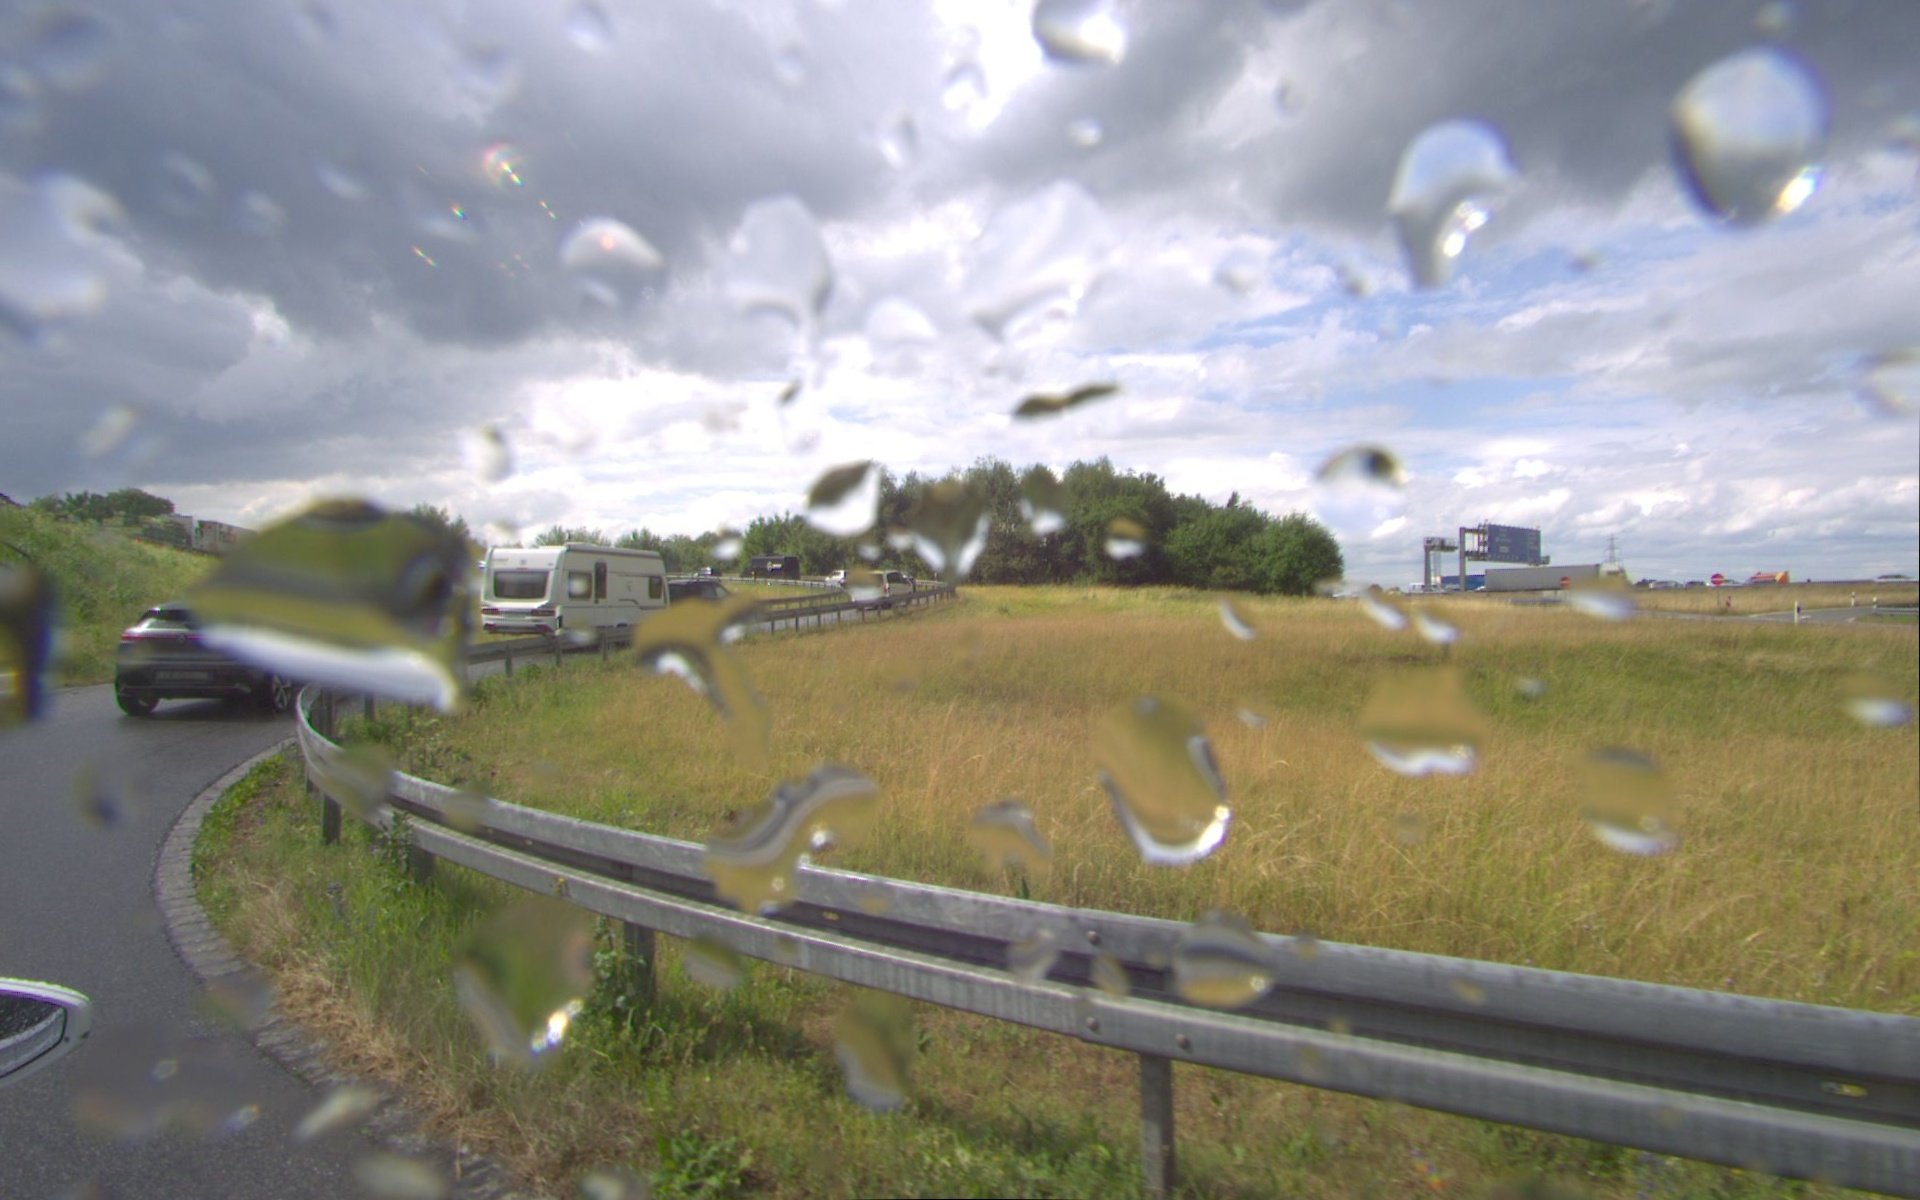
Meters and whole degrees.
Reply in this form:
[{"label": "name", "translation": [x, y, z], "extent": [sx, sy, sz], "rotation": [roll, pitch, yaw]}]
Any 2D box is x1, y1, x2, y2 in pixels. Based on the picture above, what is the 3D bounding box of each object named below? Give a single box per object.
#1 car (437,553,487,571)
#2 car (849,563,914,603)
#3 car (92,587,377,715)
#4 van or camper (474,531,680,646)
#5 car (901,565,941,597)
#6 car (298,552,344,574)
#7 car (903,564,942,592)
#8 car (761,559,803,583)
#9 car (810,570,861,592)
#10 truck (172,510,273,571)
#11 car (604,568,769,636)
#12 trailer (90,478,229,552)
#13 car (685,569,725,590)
[{"label": "car", "translation": [-55.489, -4.242, 111.615], "extent": [4.966, 1.886, 1.996], "rotation": [-1, 1, 18]}, {"label": "car", "translation": [-3.885, -0.839, 50.345], "extent": [1.962, 1.886, 5.053], "rotation": [-1, 1, 11]}, {"label": "car", "translation": [-10.027, 0.608, 14.249], "extent": [1.691, 1.545, 3.996], "rotation": [1, 1, -10]}, {"label": "van or camper", "translation": [-10.198, -0.321, 27.370], "extent": [2.392, 2.766, 5.995], "rotation": [1, 1, 12]}, {"label": "car", "translation": [-2.414, -1.162, 62.603], "extent": [1.961, 1.886, 5.055], "rotation": [-1, 1, 4]}, {"label": "car", "translation": [-67.668, -3.922, 106.080], "extent": [3.943, 2.039, 1.818], "rotation": [1, -1, -30]}, {"label": "car", "translation": [-2.713, -1.563, 71.622], "extent": [1.963, 1.886, 5.051], "rotation": [-1, 0, -12]}, {"label": "car", "translation": [-16.523, -2.667, 92.943], "extent": [1.981, 2.039, 3.961], "rotation": [1, -2, -44]}, {"label": "car", "translation": [-10.599, -1.592, 84.995], "extent": [1.648, 1.808, 5.010], "rotation": [-1, 1, -42]}, {"label": "truck", "translation": [-75.559, -5.811, 103.285], "extent": [4.404, 4.560, 19.312], "rotation": [0, -2, -24]}, {"label": "car", "translation": [-8.768, 0.020, 32.771], "extent": [2.392, 1.952, 5.748], "rotation": [2, 1, 19]}, {"label": "trailer", "translation": [-67.733, -6.892, 85.589], "extent": [4.357, 4.006, 20.152], "rotation": [0, -2, -24]}, {"label": "car", "translation": [-25.519, -2.030, 100.232], "extent": [3.953, 2.041, 1.984], "rotation": [0, 1, 41]}]
